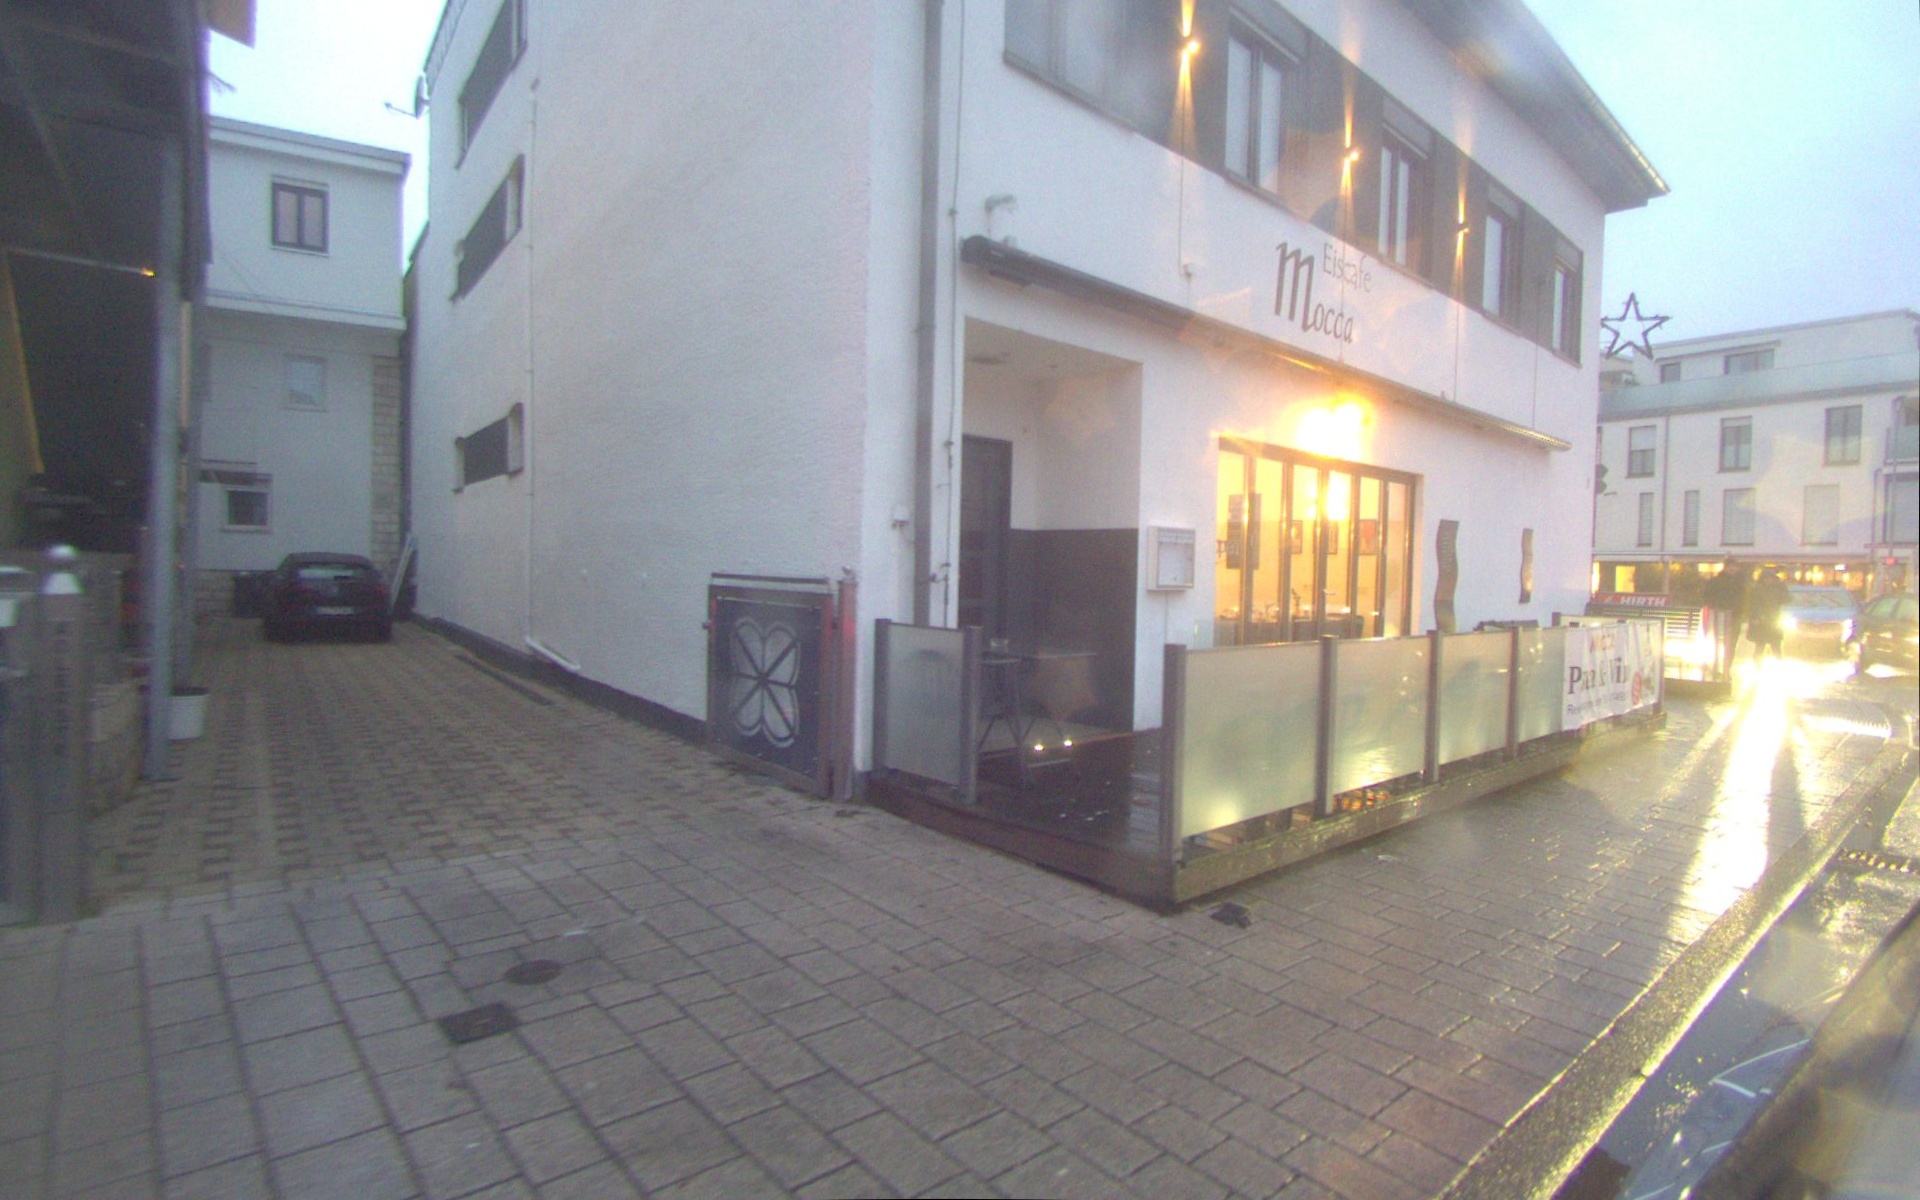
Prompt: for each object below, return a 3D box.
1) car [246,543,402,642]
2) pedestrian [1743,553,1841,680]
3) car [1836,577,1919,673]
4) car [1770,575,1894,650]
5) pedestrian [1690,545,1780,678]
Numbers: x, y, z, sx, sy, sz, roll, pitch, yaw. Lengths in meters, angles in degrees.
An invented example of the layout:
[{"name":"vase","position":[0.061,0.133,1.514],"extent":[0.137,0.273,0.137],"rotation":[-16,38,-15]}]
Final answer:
[{"name":"car","position":[-11.179,-0.177,17.656],"extent":[1.901,1.433,3.962],"rotation":[3,2,-37]},{"name":"pedestrian","position":[12.088,0.223,14.730],"extent":[0.754,1.783,0.791],"rotation":[-1,1,3]},{"name":"car","position":[16.215,0.388,16.238],"extent":[1.740,1.498,3.999],"rotation":[-1,1,17]},{"name":"car","position":[20.118,0.215,23.503],"extent":[2.018,1.497,4.495],"rotation":[0,2,39]},{"name":"pedestrian","position":[11.335,0.155,14.827],"extent":[0.697,1.889,0.791],"rotation":[-1,1,3]}]
